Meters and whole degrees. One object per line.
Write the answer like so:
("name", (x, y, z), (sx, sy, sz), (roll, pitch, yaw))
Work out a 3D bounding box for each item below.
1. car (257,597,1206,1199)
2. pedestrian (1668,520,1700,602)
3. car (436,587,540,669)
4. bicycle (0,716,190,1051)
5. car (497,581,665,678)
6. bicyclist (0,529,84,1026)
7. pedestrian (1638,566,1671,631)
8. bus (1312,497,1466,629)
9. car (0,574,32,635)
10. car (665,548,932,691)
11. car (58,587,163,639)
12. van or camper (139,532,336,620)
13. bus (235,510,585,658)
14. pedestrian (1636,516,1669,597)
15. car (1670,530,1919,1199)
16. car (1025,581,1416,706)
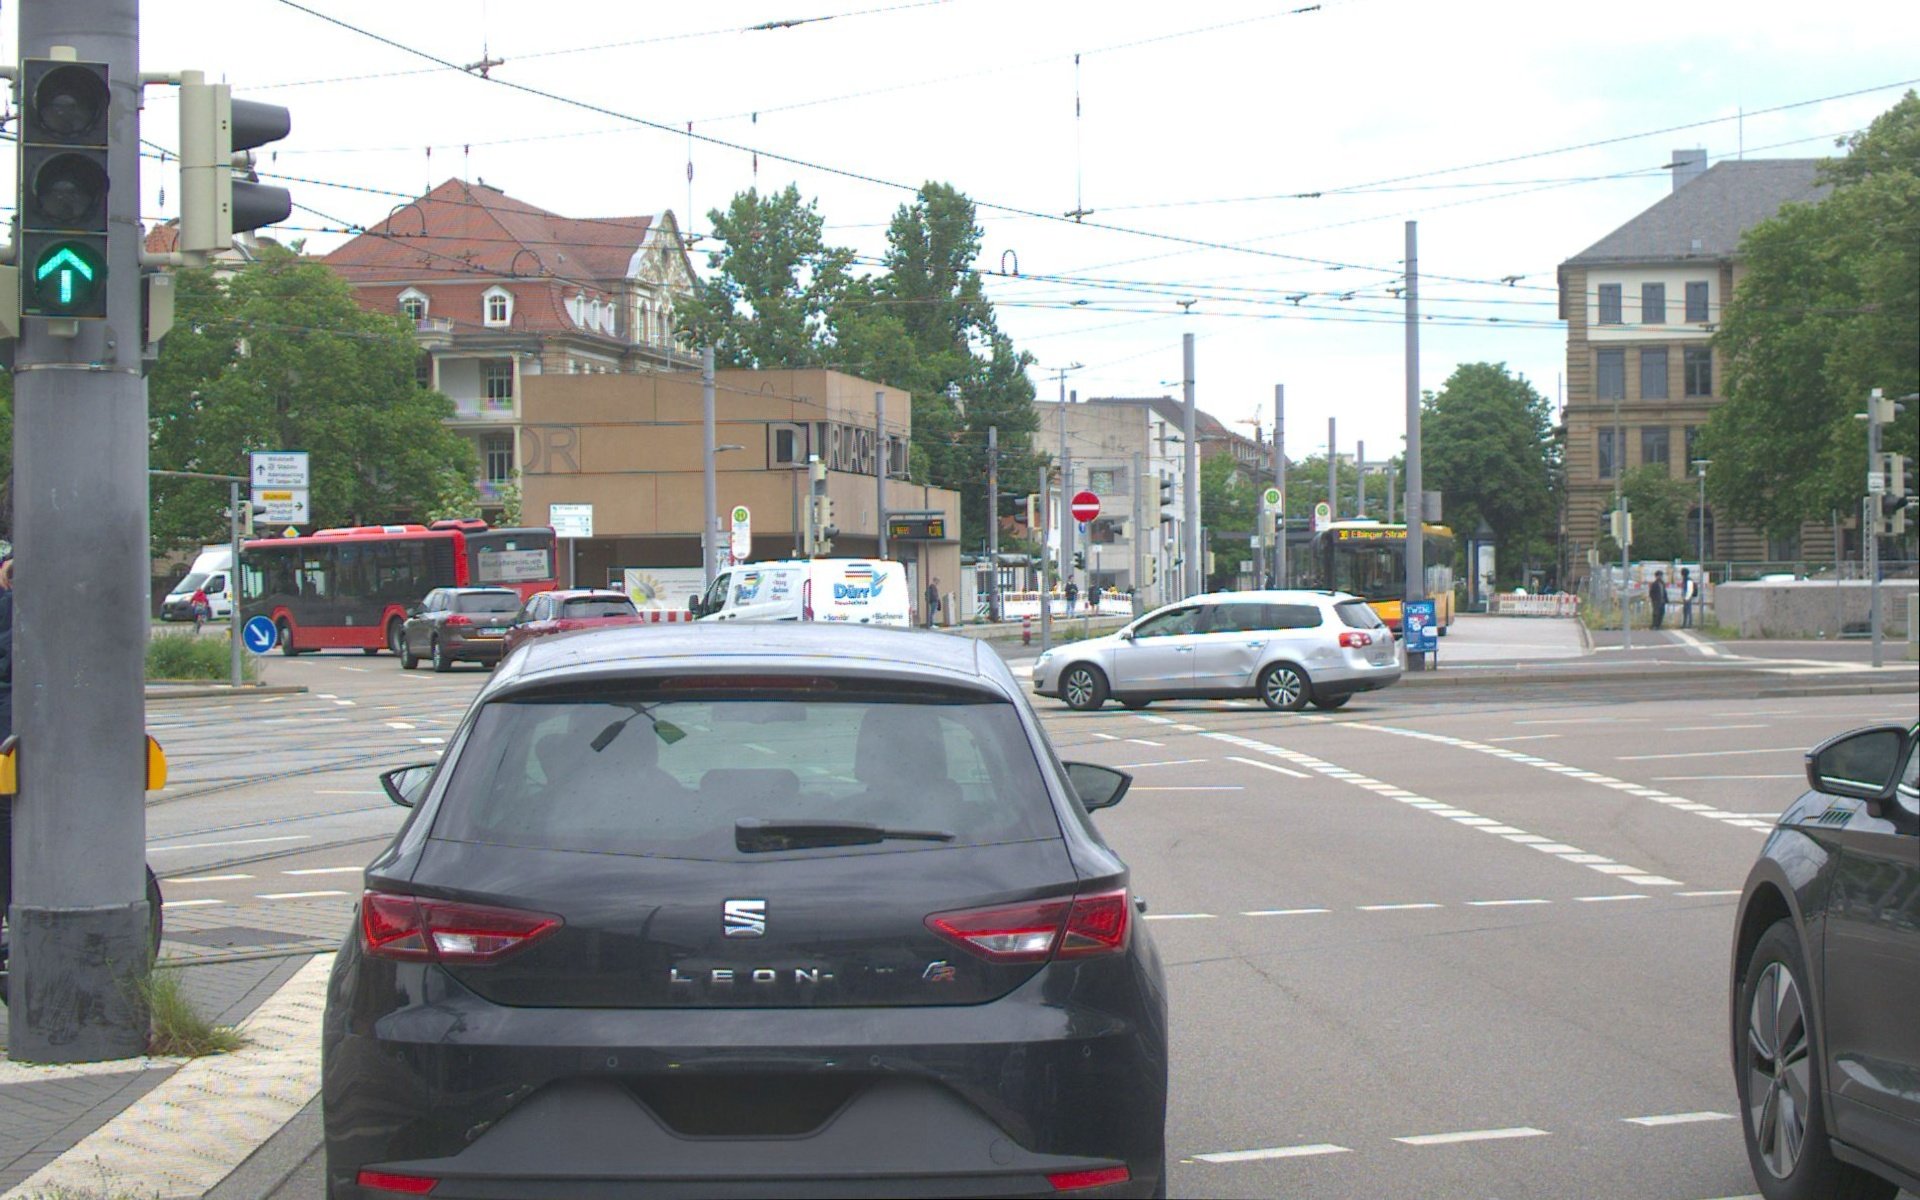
("car", (-0.455, 0.736, 8.351), (1.746, 1.459, 4.000), (0, 0, -1))
("pedestrian", (38.070, -2.051, 180.783), (1.307, 4.239, 1.347), (-1, 0, 0))
("car", (-9.489, 0.530, 69.020), (1.993, 1.560, 4.206), (-1, 0, -8))
("bicycle", (-3.422, 0.952, 11.421), (1.609, 1.066, 0.528), (-1, 0, -40))
("car", (-6.585, 0.480, 59.341), (1.857, 1.595, 4.206), (-1, 0, -21))
("bicyclist", (-3.357, 0.585, 11.478), (0.653, 1.633, 0.517), (-1, 0, -40))
("pedestrian", (20.074, -0.054, 99.358), (0.824, 1.847, 1.020), (-1, 0, 15))
("bus", (11.653, -0.964, 92.254), (3.018, 3.257, 13.036), (-1, 0, 12))
("car", (-33.117, 0.150, 116.780), (1.993, 2.007, 4.000), (-1, 0, -32))
("car", (-2.482, 0.265, 51.387), (1.993, 2.012, 5.032), (-1, 0, -28))
("car", (-25.745, 0.377, 104.087), (1.993, 1.534, 4.000), (-1, 0, -31))
("van or camper", (-28.583, -0.959, 136.181), (7.134, 3.321, 2.874), (-1, -1, -45))
("bus", (-13.317, -0.349, 81.921), (3.059, 3.286, 12.377), (0, 0, -35))
("pedestrian", (36.438, -2.285, 180.888), (1.387, 4.239, 1.347), (-1, 0, 0))
("car", (2.912, 0.675, 6.781), (1.903, 1.652, 4.515), (-1, 0, -2))
("car", (3.298, 0.560, 43.656), (4.619, 1.477, 1.724), (-1, 1, 26))
